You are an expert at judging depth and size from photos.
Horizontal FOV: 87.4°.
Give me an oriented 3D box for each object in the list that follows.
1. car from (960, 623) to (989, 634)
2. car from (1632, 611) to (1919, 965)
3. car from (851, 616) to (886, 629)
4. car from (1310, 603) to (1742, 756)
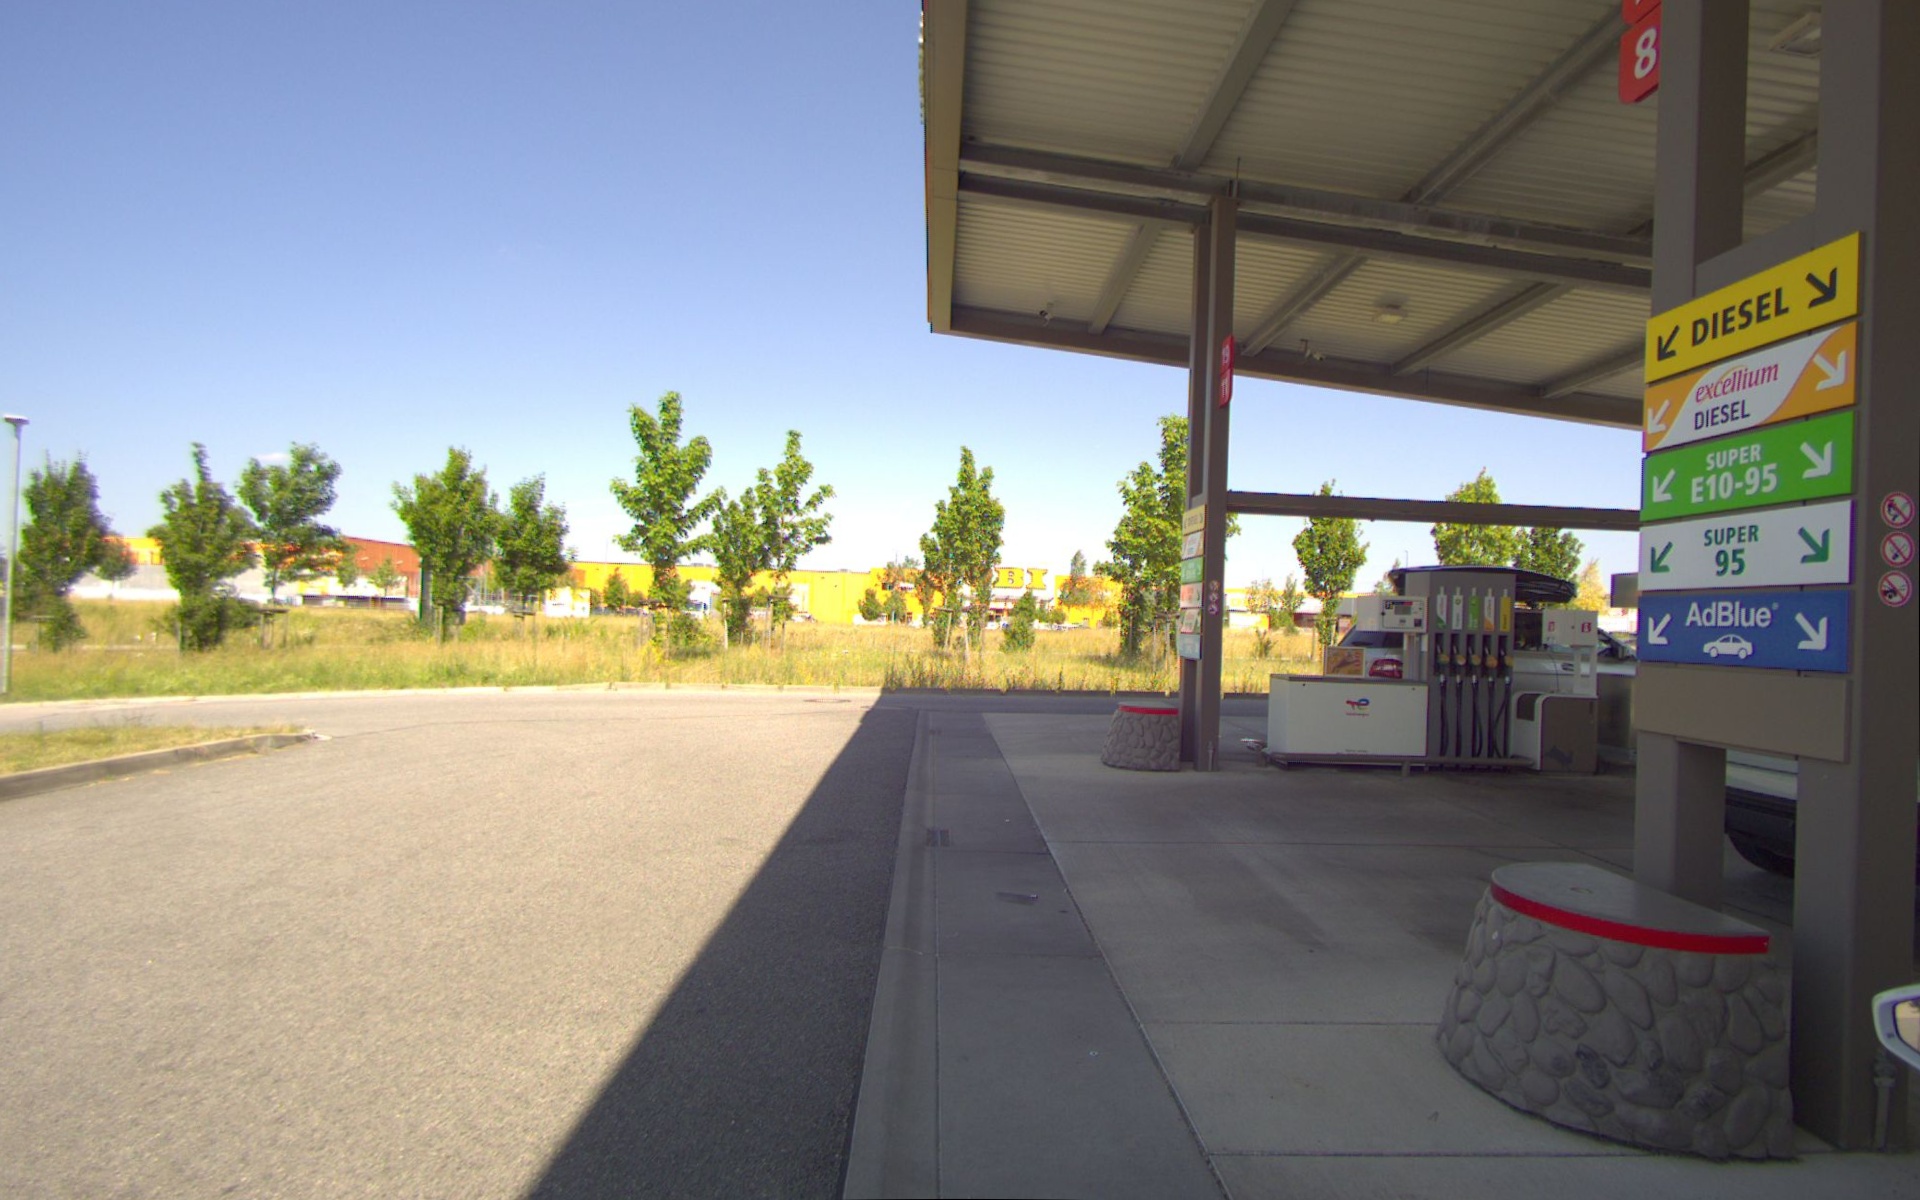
[{"bbox_3d":[2.082,3.979,141.979,4.087,1.490,1.672,1,-1,0],"label":"car"},{"bbox_3d":[6.315,0.896,5.398,4.241,1.561,1.786,1,-1,-1],"label":"car"},{"bbox_3d":[-11.663,2.891,128.625,4.298,1.568,1.794,1,-1,0],"label":"car"},{"bbox_3d":[6.936,0.956,12.565,4.450,1.710,1.864,1,-1,-6],"label":"car"}]
